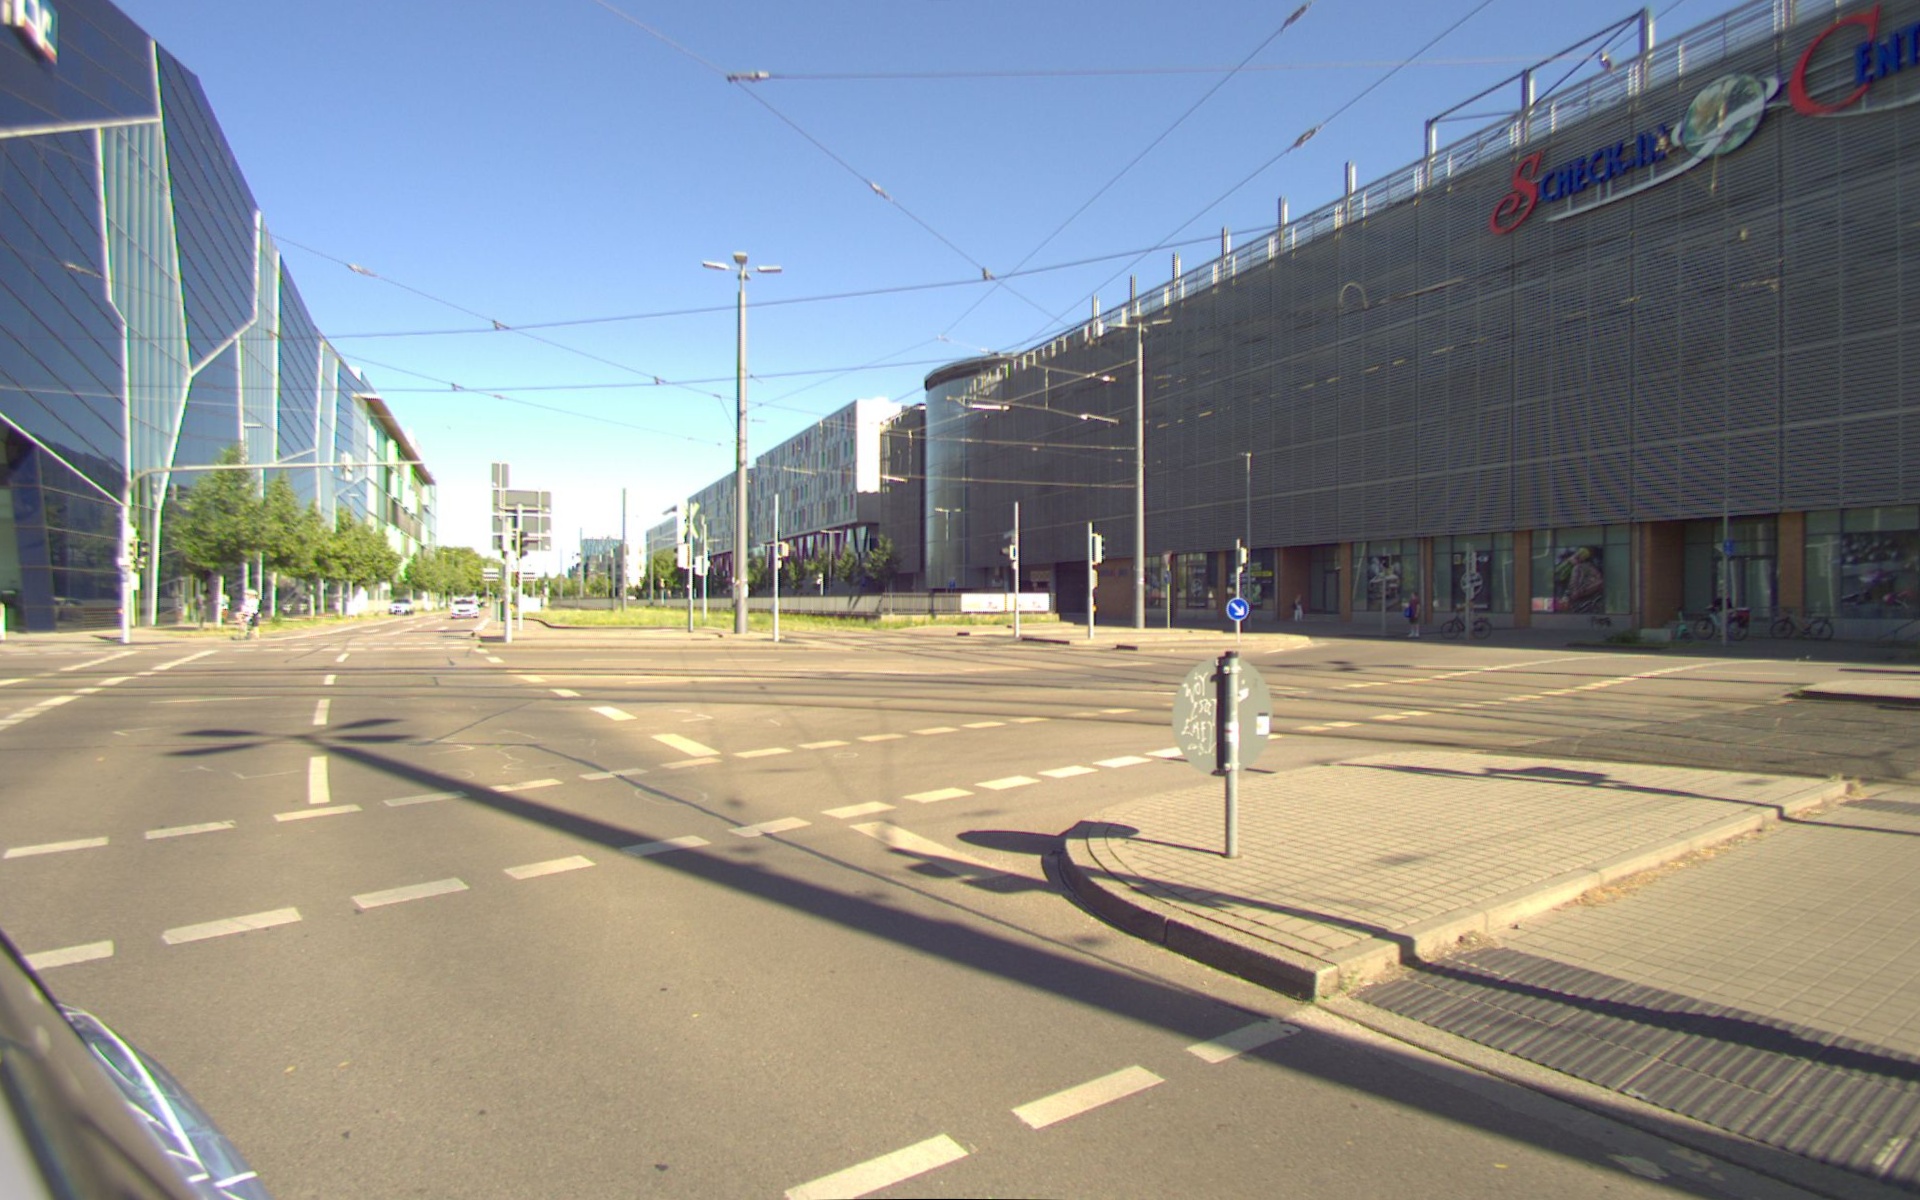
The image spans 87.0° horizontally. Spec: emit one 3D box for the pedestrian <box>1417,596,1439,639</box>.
[{"bbox_3d":[19.031,0.705,41.135,0.580,1.764,0.626,0,0,-44],"label":"pedestrian"}]

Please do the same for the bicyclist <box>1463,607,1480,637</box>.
[{"bbox_3d":[19.727,0.837,39.025,0.561,1.148,0.554,0,0,31],"label":"bicyclist"}]

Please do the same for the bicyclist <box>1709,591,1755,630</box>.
[{"bbox_3d":[26.177,0.352,34.317,0.670,1.328,1.043,0,0,-27],"label":"bicyclist"}]

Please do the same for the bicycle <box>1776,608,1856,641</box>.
[{"bbox_3d":[28.484,0.799,33.690,0.563,1.046,1.957,0,0,-30],"label":"bicycle"}]

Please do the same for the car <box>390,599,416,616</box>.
[{"bbox_3d":[-55.713,0.739,101.354,1.965,1.741,4.013,0,0,-24],"label":"car"}]

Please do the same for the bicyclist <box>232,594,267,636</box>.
[{"bbox_3d":[-24.113,0.493,34.339,0.749,1.420,0.774,0,0,-14],"label":"bicyclist"}]

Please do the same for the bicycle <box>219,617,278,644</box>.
[{"bbox_3d":[-24.098,1.021,34.315,0.757,0.846,2.575,0,0,-14],"label":"bicycle"}]

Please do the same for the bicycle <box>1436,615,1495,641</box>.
[{"bbox_3d":[19.571,1.076,39.215,2.014,0.993,0.554,0,0,32],"label":"bicycle"}]

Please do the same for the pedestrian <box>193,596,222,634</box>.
[{"bbox_3d":[-31.419,0.606,42.267,0.842,1.567,0.615,0,0,-20],"label":"pedestrian"}]

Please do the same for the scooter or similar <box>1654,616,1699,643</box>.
[{"bbox_3d":[23.892,0.976,33.750,0.296,0.857,1.231,0,0,-28],"label":"scooter or similar"}]

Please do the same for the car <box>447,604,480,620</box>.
[{"bbox_3d":[-35.296,0.813,72.007,1.965,1.098,4.013,0,0,-24],"label":"car"}]

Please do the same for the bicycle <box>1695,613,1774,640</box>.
[{"bbox_3d":[26.210,0.877,34.294,0.670,0.874,2.055,0,0,-27],"label":"bicycle"}]
